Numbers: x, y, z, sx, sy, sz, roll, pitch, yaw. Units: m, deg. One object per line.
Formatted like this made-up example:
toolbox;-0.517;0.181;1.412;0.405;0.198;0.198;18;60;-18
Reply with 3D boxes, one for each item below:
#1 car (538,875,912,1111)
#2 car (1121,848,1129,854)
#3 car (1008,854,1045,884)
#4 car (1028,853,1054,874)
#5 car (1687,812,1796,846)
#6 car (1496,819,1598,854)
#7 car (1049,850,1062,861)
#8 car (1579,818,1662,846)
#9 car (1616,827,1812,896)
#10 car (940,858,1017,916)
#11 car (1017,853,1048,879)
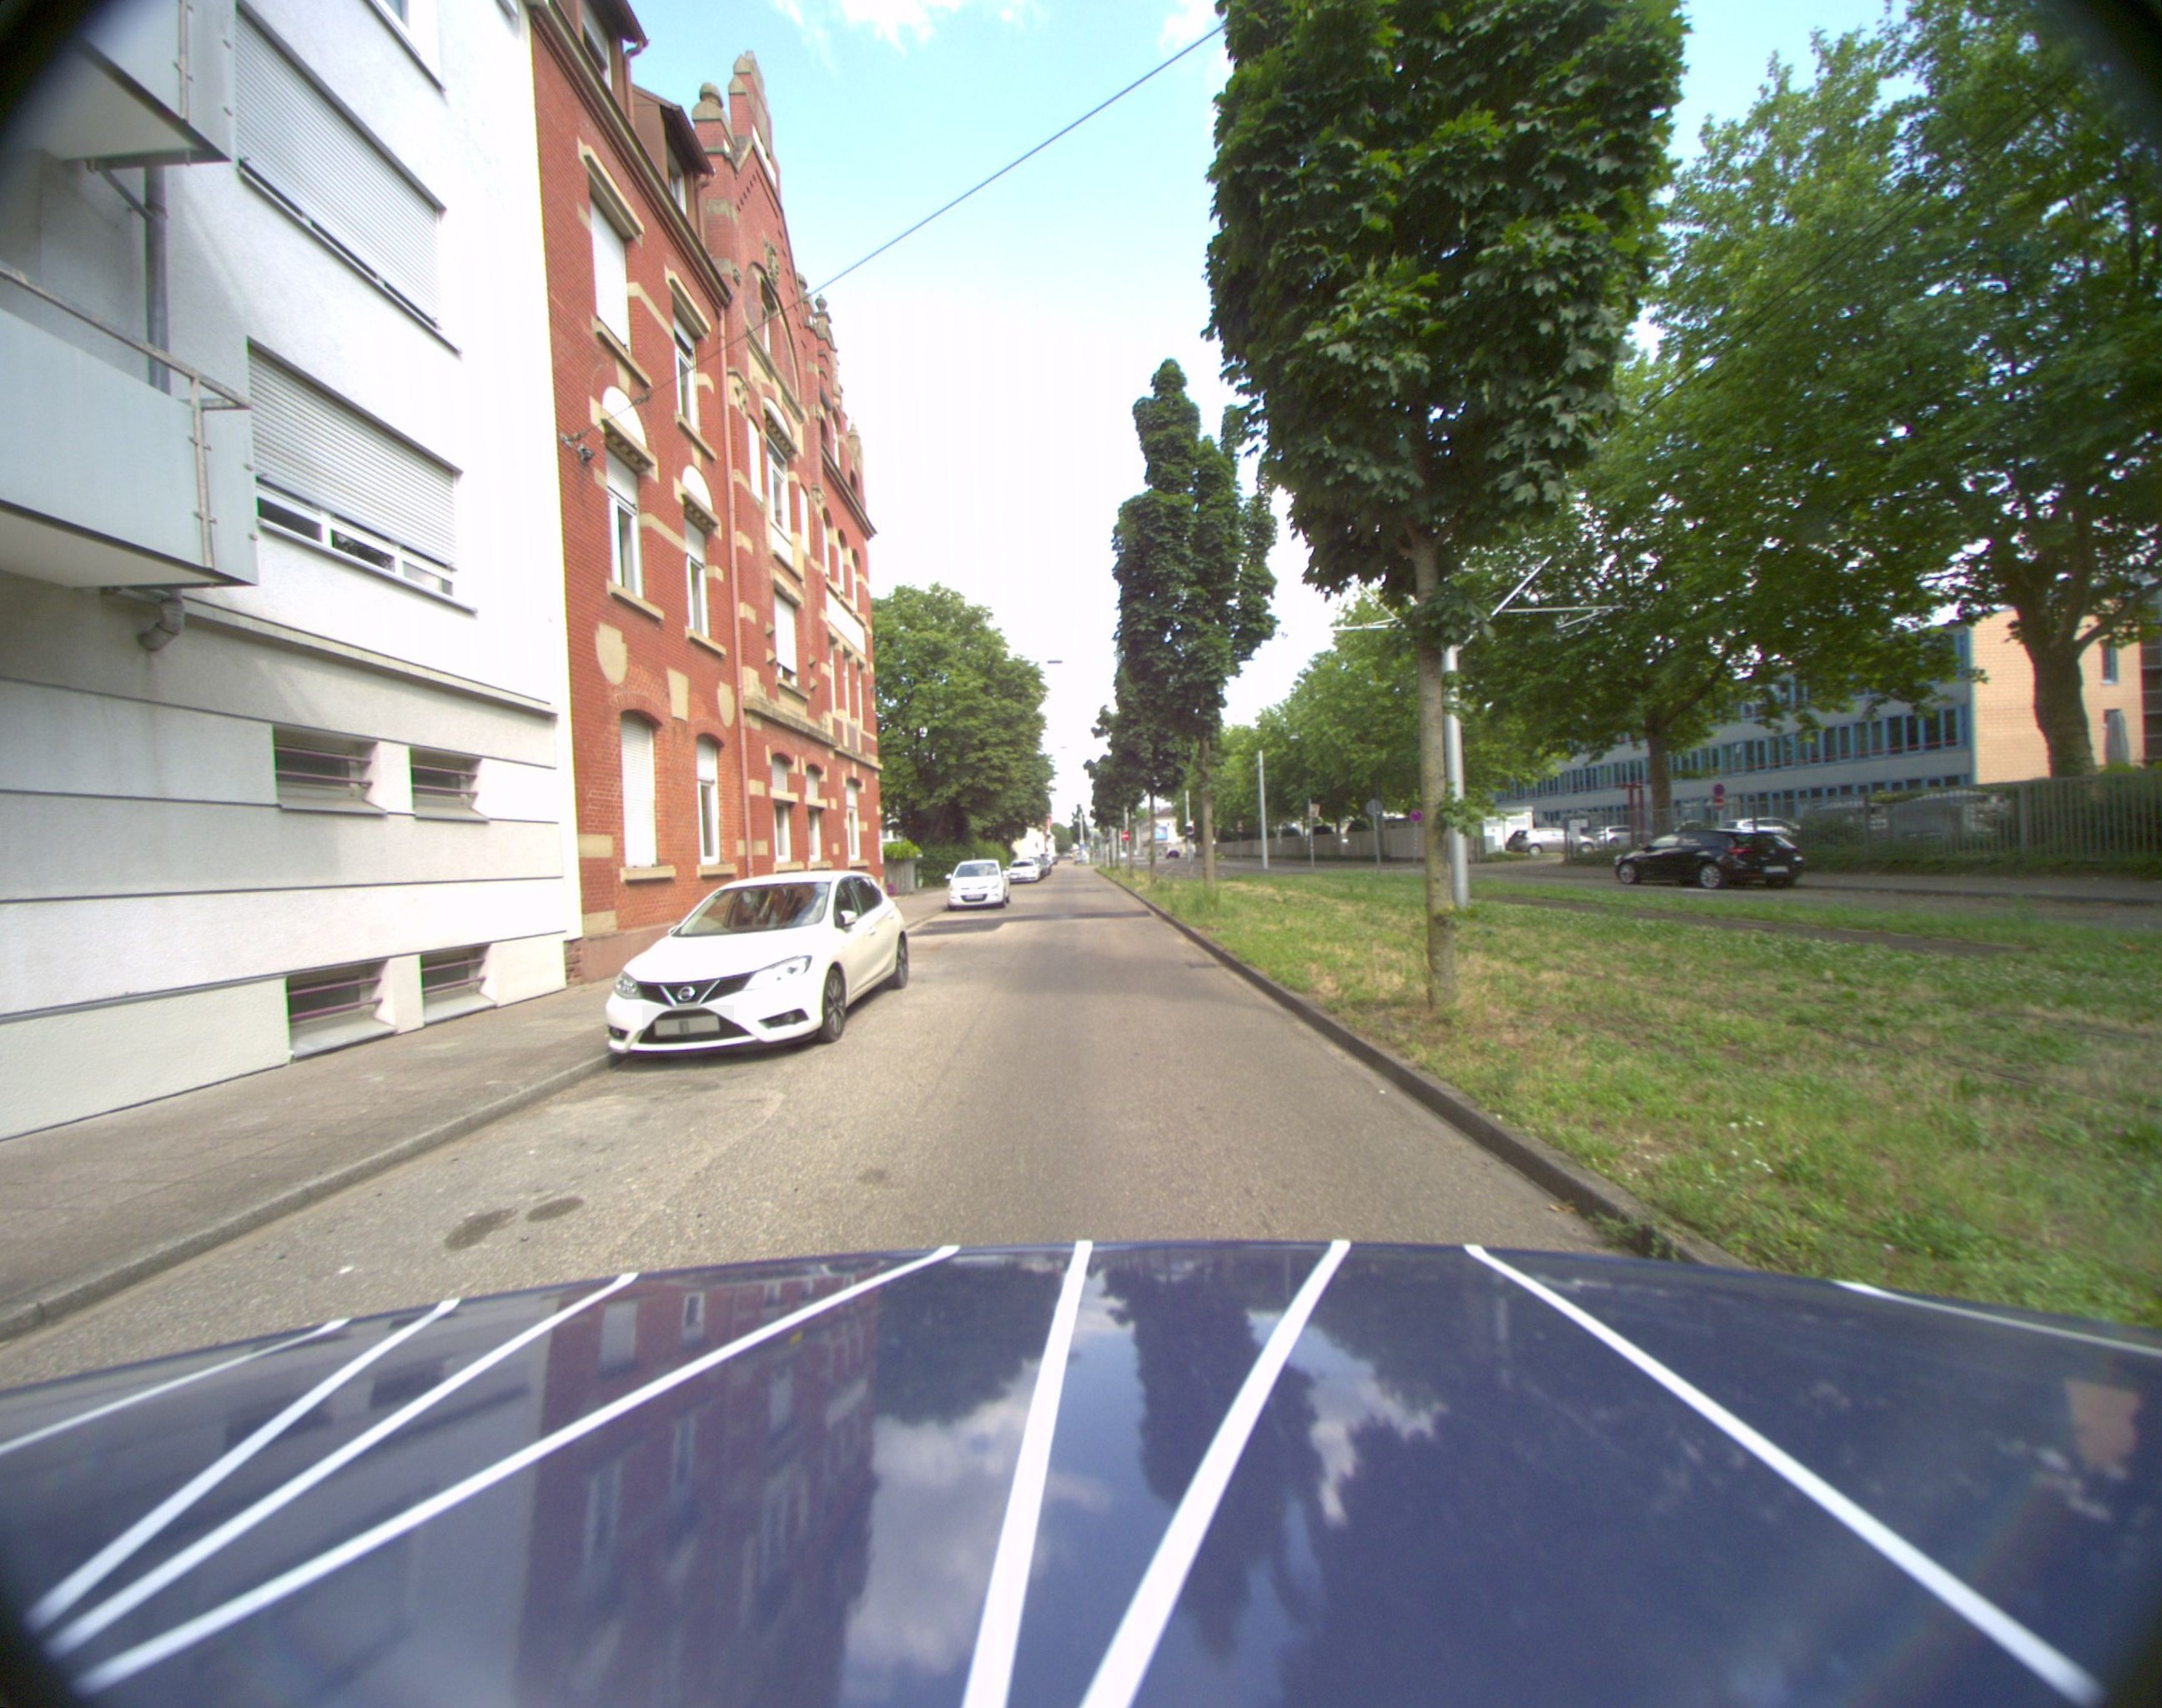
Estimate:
car;-3.085;1.086;7.657;1.801;1.521;4.040;-4;0;0
car;11.083;-0.799;192.305;1.801;1.521;4.040;-4;1;0
car;-3.221;0.854;45.501;1.801;1.521;4.040;-5;1;0
car;-3.248;0.725;62.615;1.801;1.521;4.040;-5;1;0
car;34.480;-1.285;39.766;3.997;1.609;1.999;-2;1;-2
car;23.910;-0.880;39.081;3.997;1.609;1.999;-2;1;-2
car;-4.062;0.256;120.665;1.801;1.521;4.040;-5;1;0
car;35.279;-1.429;49.756;3.997;1.609;1.999;-2;1;-2
car;15.511;0.144;18.932;1.601;1.455;4.000;-3;1;1
car;-3.127;0.956;24.001;1.801;1.521;4.040;-4;1;0
car;-3.259;0.765;51.742;1.801;1.521;4.040;-5;1;0
